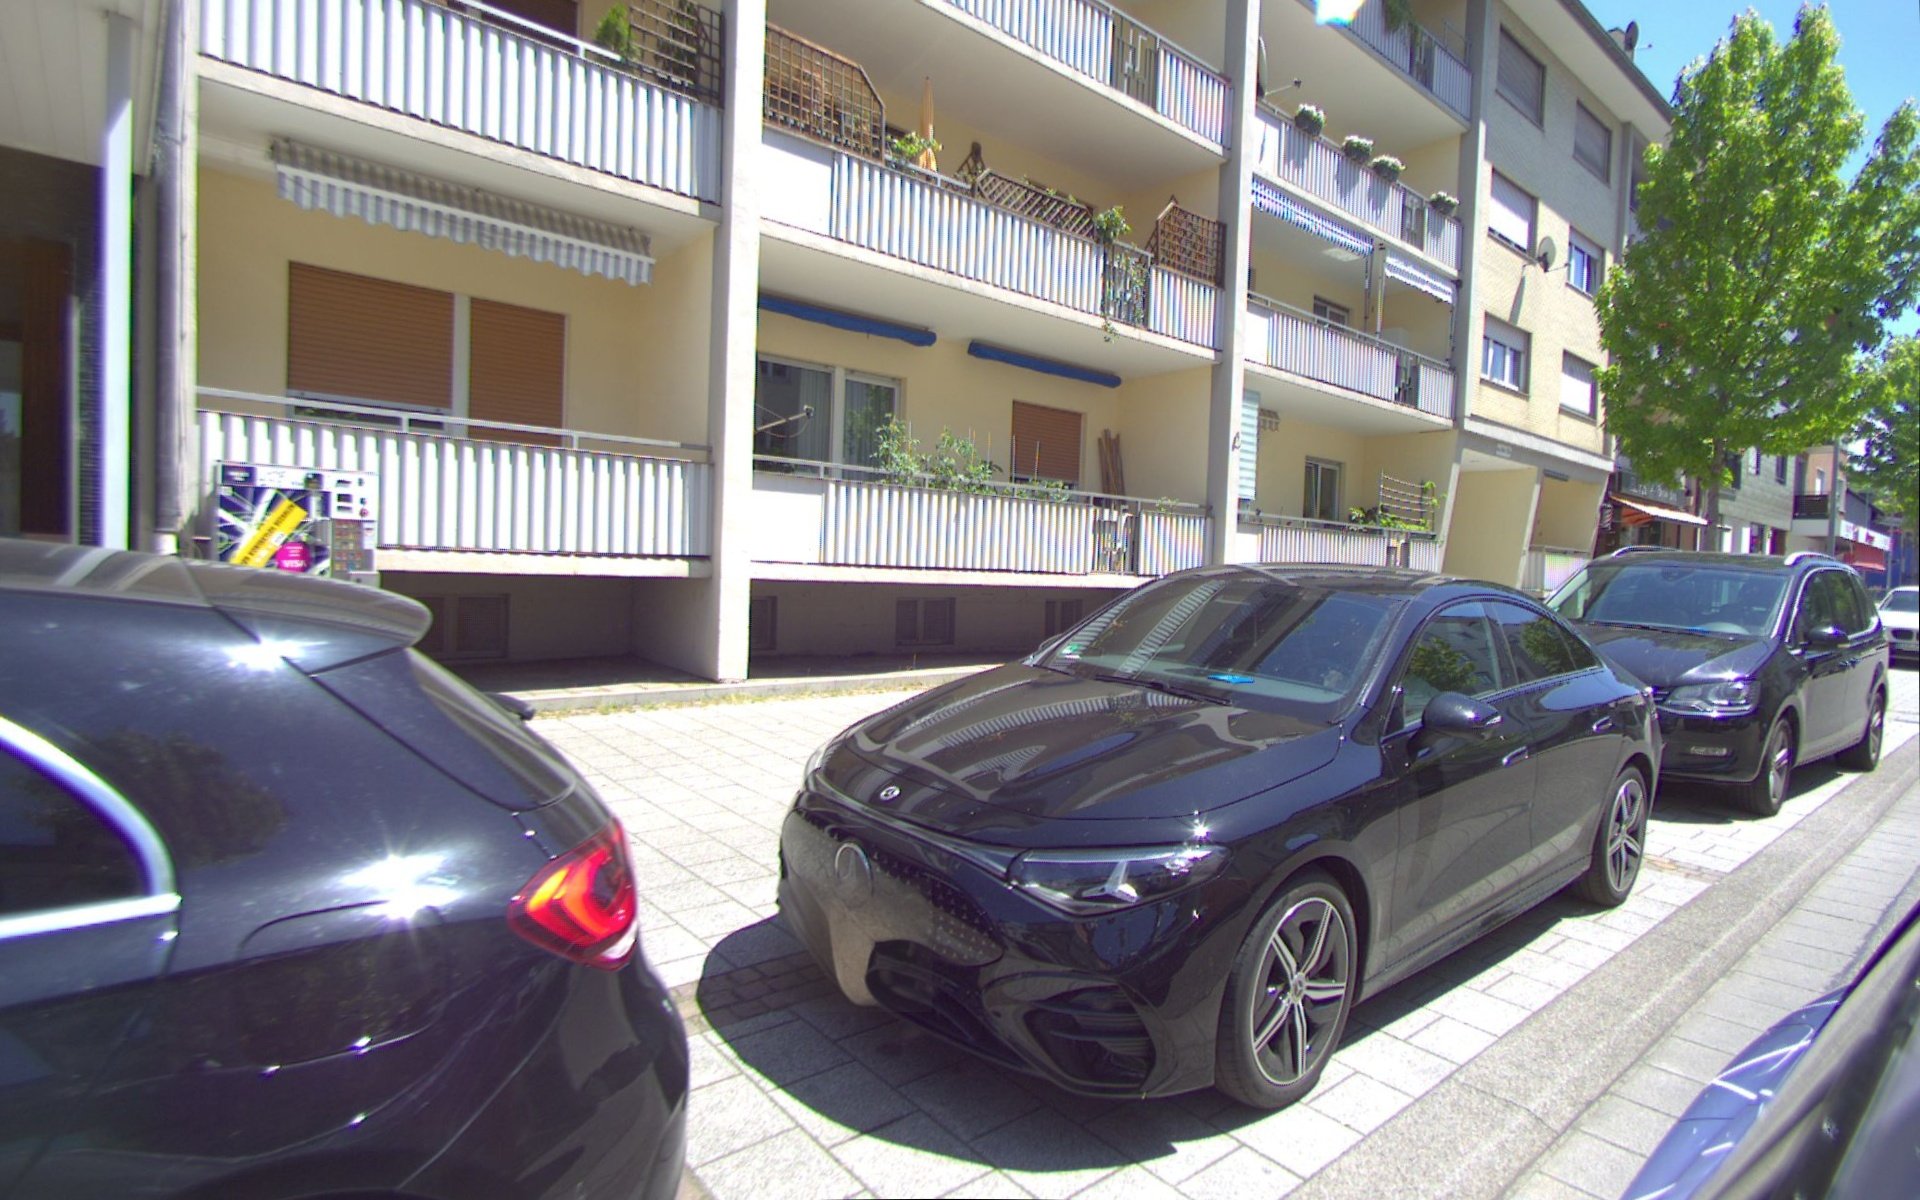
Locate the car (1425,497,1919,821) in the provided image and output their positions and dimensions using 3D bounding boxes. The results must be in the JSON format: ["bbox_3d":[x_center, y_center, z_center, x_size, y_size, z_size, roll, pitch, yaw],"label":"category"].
[{"bbox_3d":[5.744,0.316,7.864,4.486,1.820,1.999,2,3,-39],"label":"car"}]

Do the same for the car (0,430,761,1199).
[{"bbox_3d":[-2.454,0.505,0.880,4.090,1.431,1.849,-1,4,-41],"label":"car"}]

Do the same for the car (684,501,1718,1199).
[{"bbox_3d":[1.366,0.475,4.238,4.489,1.548,1.899,-1,5,-41],"label":"car"}]

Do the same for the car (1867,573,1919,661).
[{"bbox_3d":[19.414,0.323,19.863,4.149,1.602,1.727,-1,4,-39],"label":"car"}]
